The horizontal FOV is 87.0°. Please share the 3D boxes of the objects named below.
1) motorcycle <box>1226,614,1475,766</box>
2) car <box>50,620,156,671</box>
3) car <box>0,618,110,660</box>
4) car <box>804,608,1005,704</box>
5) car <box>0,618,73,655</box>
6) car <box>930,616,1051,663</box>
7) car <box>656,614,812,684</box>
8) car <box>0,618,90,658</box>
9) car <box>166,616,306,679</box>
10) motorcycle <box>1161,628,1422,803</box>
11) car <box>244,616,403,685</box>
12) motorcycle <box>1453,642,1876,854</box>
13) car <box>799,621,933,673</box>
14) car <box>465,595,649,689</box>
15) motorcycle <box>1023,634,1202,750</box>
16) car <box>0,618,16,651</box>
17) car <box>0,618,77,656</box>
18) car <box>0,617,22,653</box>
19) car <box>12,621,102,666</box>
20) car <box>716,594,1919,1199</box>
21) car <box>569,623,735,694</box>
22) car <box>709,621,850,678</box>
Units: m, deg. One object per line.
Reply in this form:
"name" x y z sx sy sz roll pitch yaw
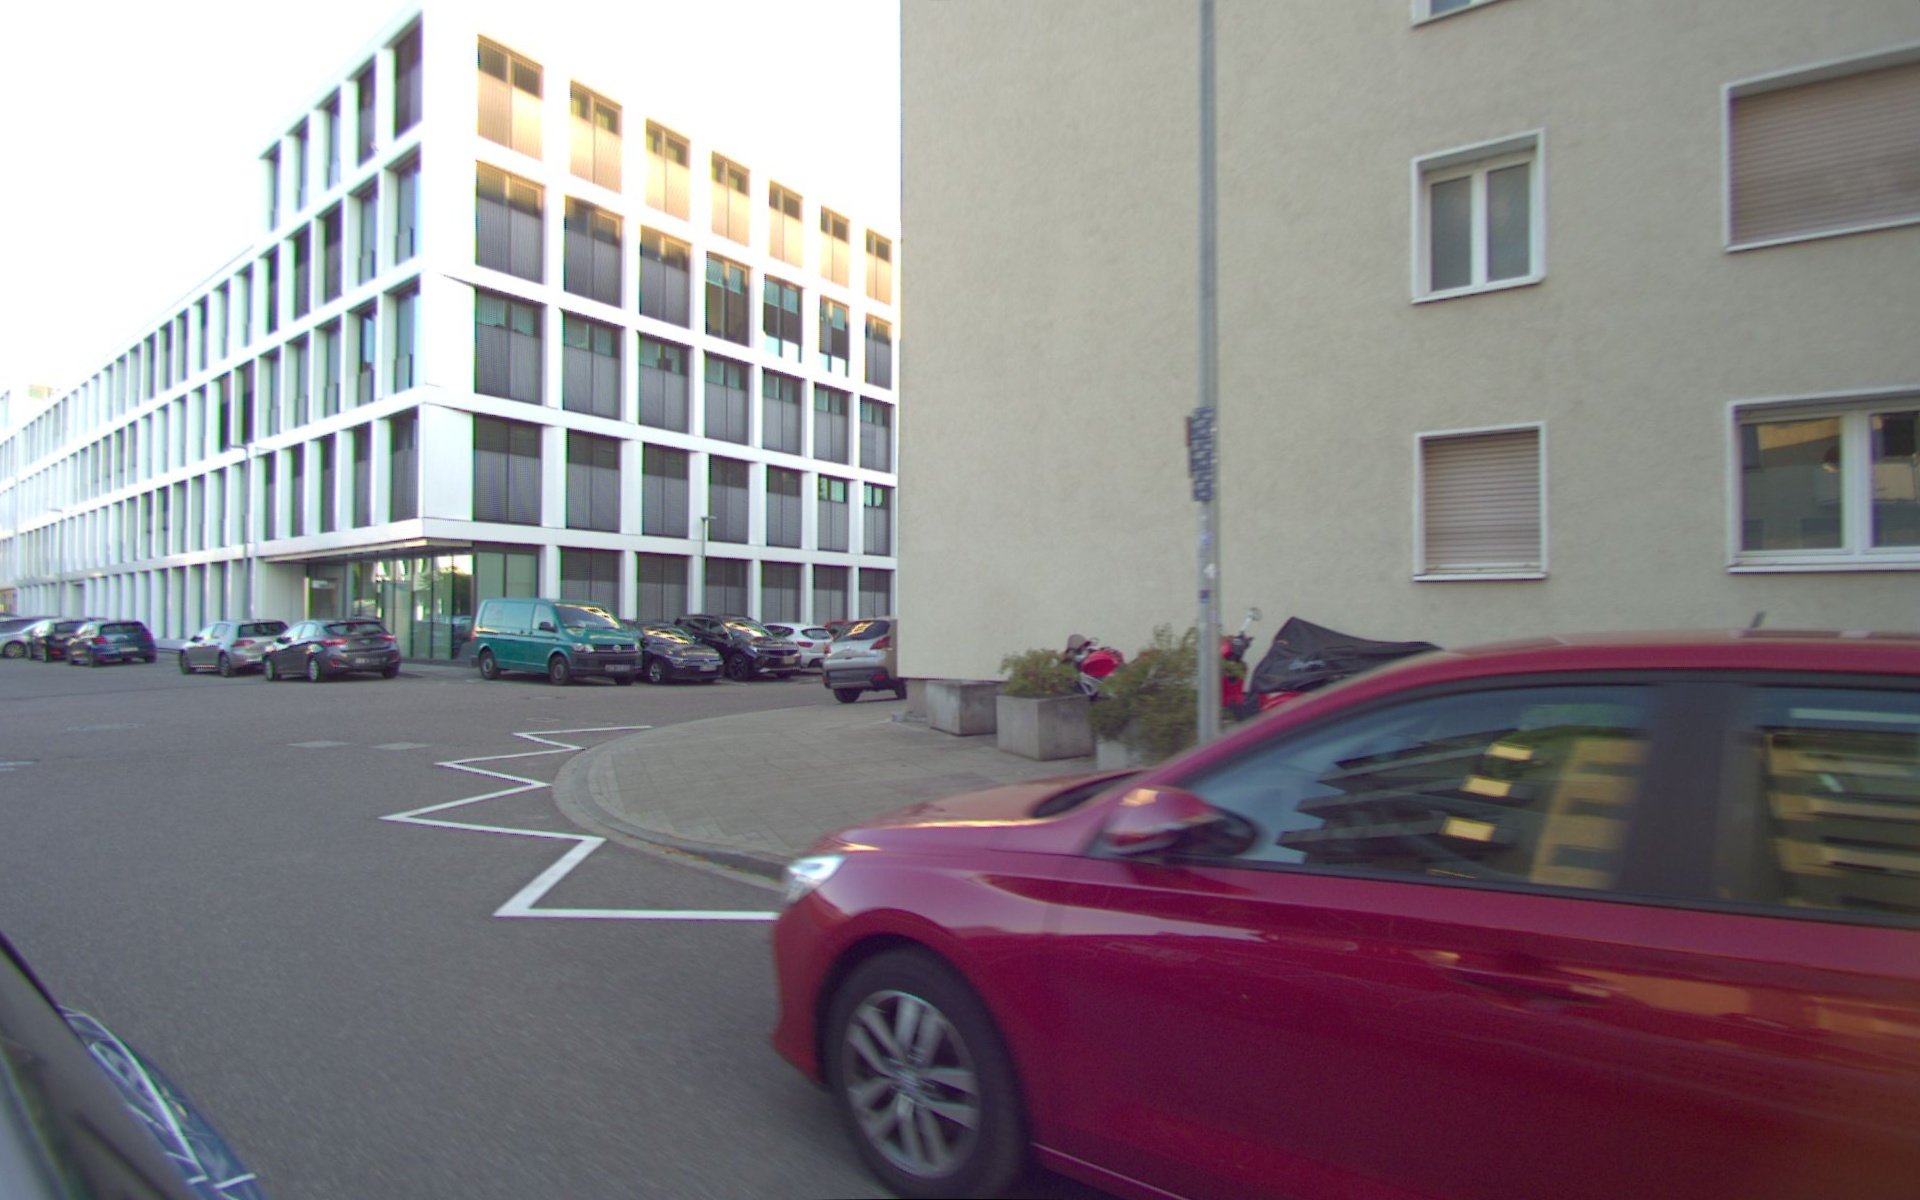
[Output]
"motorcycle" 3.598 0.782 9.522 0.714 1.274 2.084 1 -2 -40
"car" -27.997 1.469 33.027 4.175 1.449 1.634 -2 1 36
"car" -35.688 1.511 39.290 1.686 1.523 3.888 -3 -2 39
"car" -0.987 1.079 19.997 1.876 1.630 3.973 -7 -5 34
"car" -41.284 1.589 43.934 1.794 1.523 3.925 -3 -2 39
"car" 1.136 1.471 38.946 4.456 1.624 1.714 1 0 37
"car" -6.171 1.260 27.428 4.323 1.672 1.714 1 0 37
"car" -37.740 1.542 40.943 1.685 1.523 3.619 -3 -1 38
"car" -19.784 1.281 27.597 4.173 1.490 1.696 -2 1 34
"motorcycle" 2.479 0.808 7.870 0.679 1.169 2.040 0 -2 -26
"car" -15.326 1.175 24.285 4.323 1.490 1.764 -2 -1 36
"motorcycle" 4.235 0.813 6.234 2.033 1.087 0.675 -2 -2 41
"car" -3.055 1.456 32.489 4.191 1.467 1.714 1 0 37
"car" -9.488 0.937 23.696 4.680 1.995 1.782 -1 -2 36
"motorcycle" 1.536 0.903 10.661 0.713 1.087 2.087 0 -2 -30
"car" -45.839 1.632 46.392 1.695 1.523 3.628 -3 -2 41
"car" -39.487 1.570 42.323 1.685 1.523 3.619 -3 -1 38
"car" -47.763 1.721 48.068 2.003 1.719 4.570 -3 -2 41
"car" -32.697 1.557 36.610 4.195 1.449 1.633 -2 1 38
"car" 1.447 0.765 2.386 4.072 1.484 1.827 -2 -2 38
"car" -7.798 1.403 25.491 4.323 1.561 1.763 1 0 37
"car" -5.365 1.416 29.882 4.191 1.467 1.714 1 0 37
